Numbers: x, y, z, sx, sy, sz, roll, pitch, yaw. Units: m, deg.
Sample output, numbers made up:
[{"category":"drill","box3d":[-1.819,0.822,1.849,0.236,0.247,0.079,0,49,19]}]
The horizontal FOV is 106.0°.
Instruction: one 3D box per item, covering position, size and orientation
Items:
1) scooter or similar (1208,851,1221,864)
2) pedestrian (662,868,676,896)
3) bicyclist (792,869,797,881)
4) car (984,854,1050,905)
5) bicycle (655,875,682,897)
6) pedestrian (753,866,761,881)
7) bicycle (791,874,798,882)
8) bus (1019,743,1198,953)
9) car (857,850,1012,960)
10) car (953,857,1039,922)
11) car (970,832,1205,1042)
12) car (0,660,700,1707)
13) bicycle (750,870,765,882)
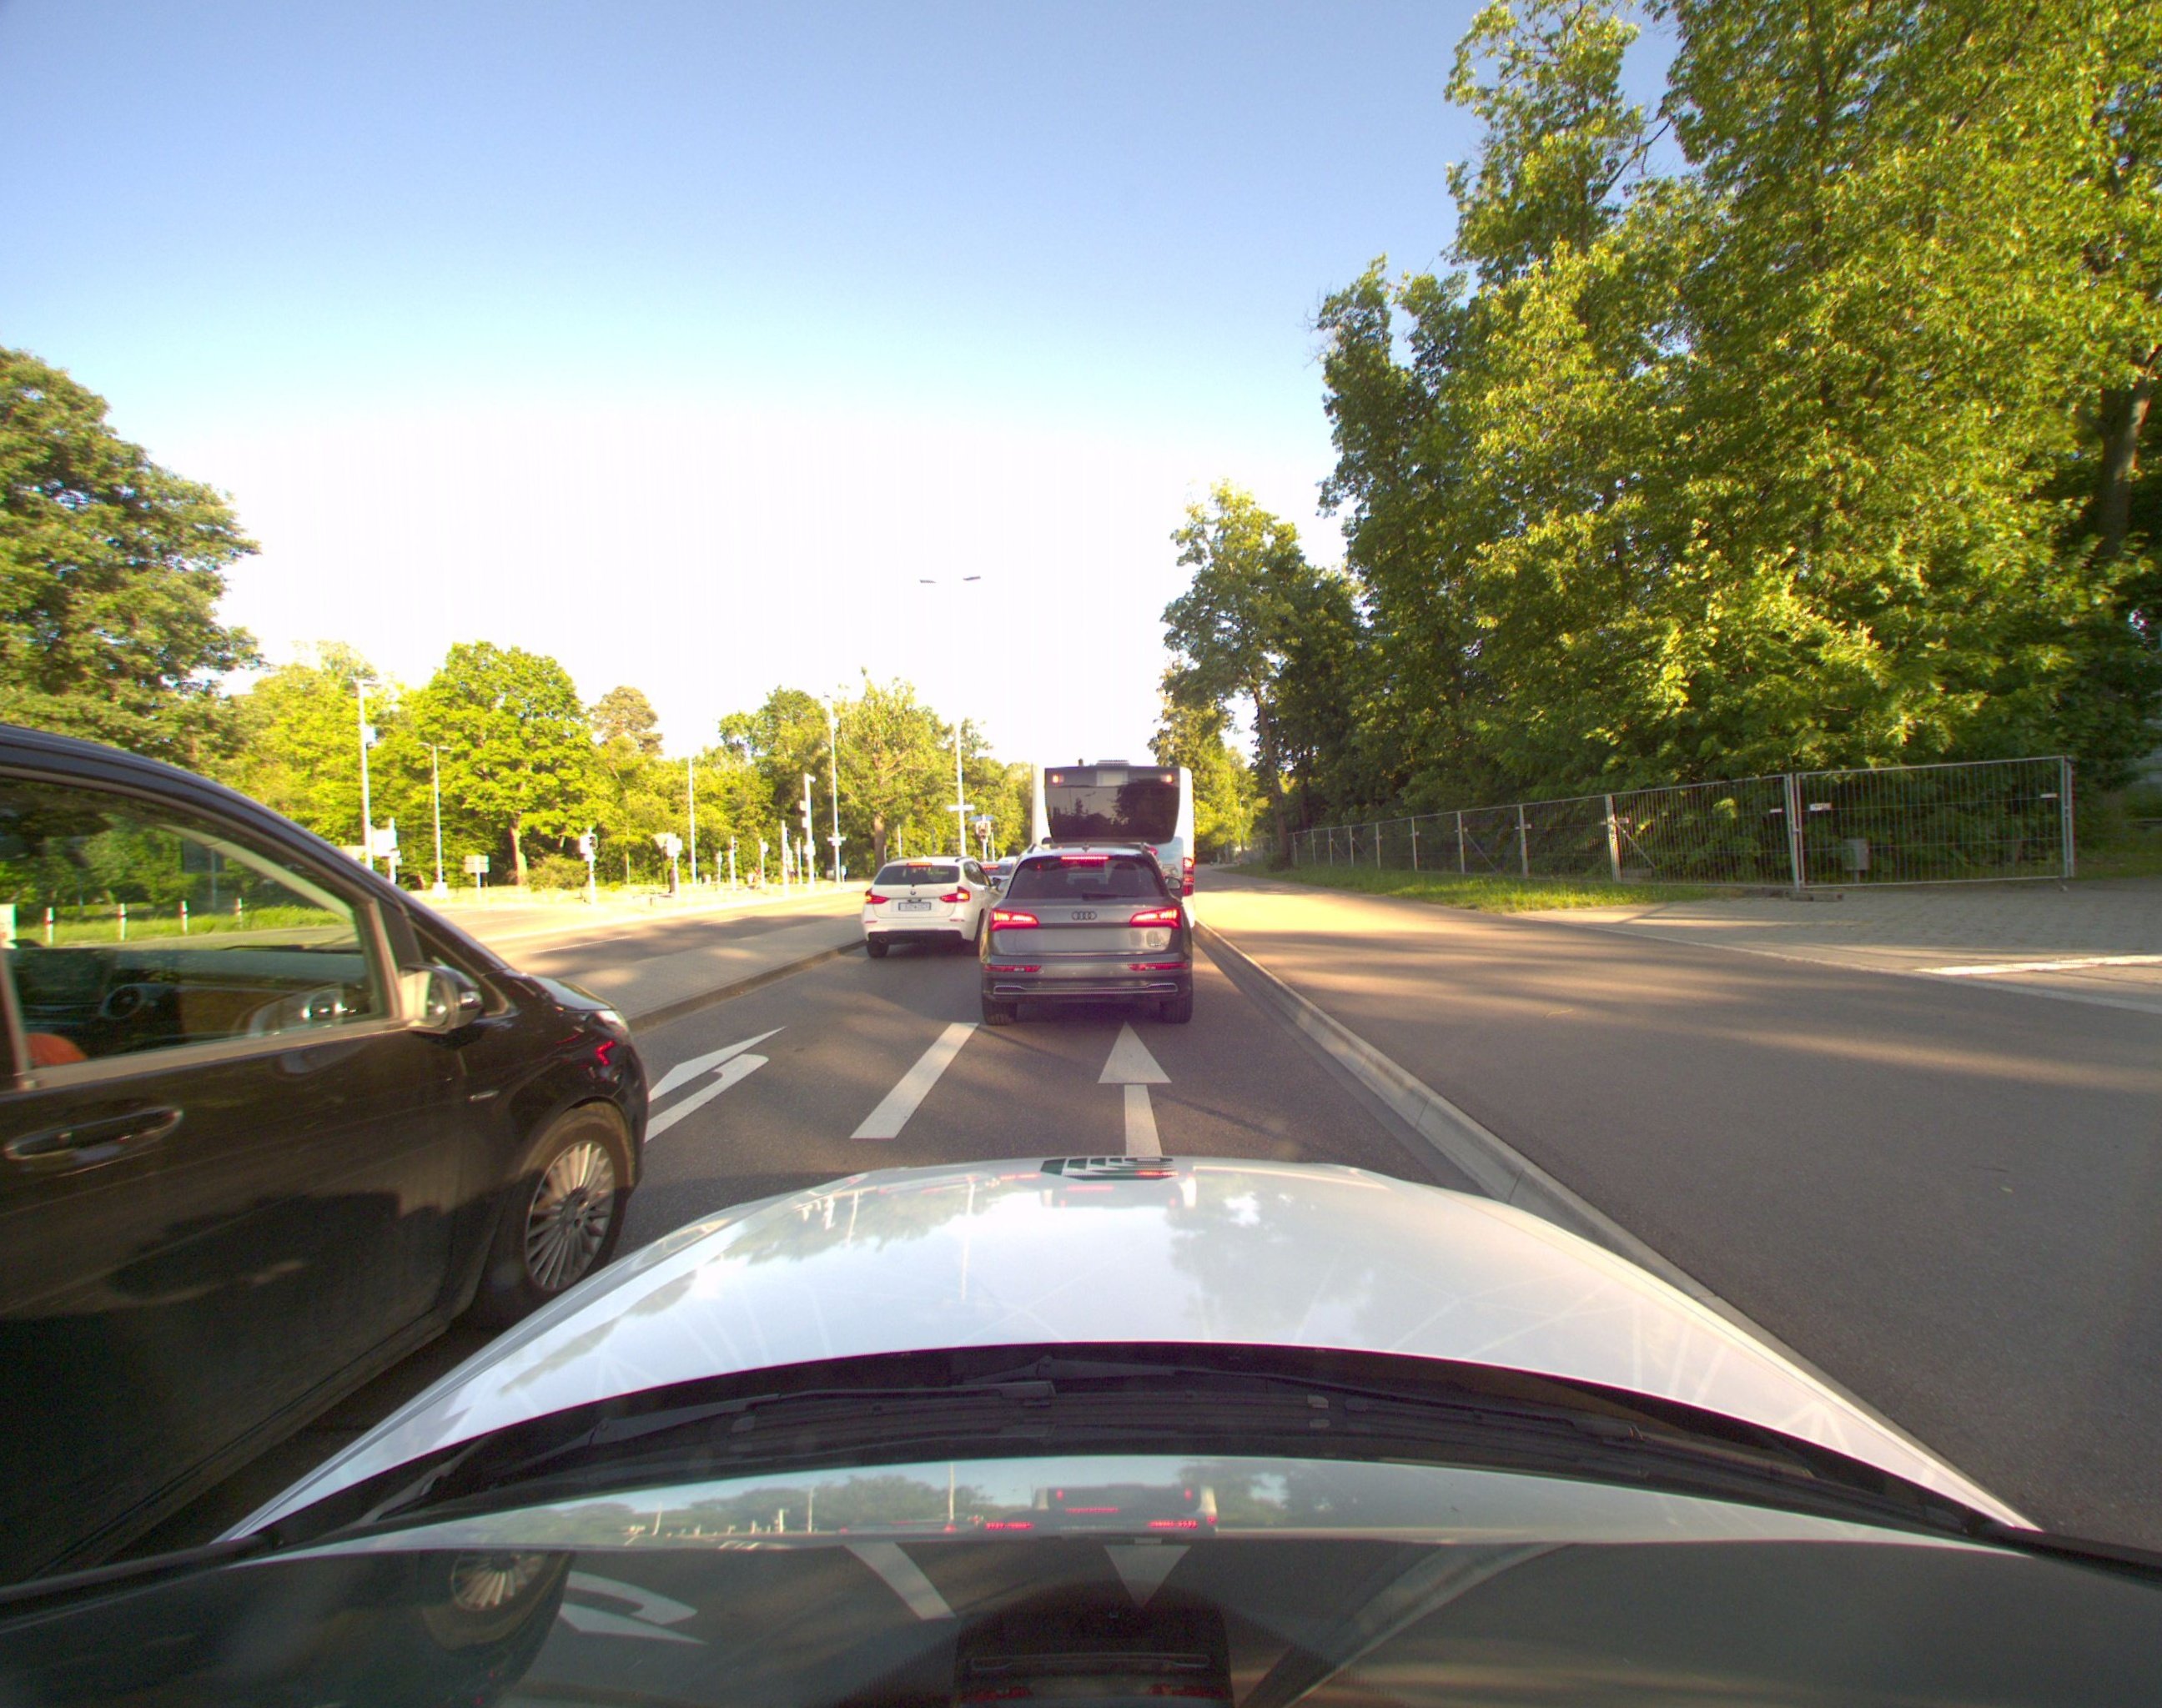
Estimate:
[{"category":"scooter or similar","box3d":[12.771,0.327,77.774,1.175,1.174,0.661,0,0,13]},{"category":"pedestrian","box3d":[-23.403,1.576,46.255,0.480,1.562,0.649,0,-1,2]},{"category":"bicyclist","box3d":[-22.124,1.629,62.895,0.273,0.963,0.240,0,-1,-5]},{"category":"car","box3d":[-2.121,0.799,27.855,1.801,1.572,4.002,0,1,2]},{"category":"bicycle","box3d":[-23.413,1.814,46.231,0.466,1.178,2.005,0,-1,2]},{"category":"pedestrian","box3d":[-23.006,1.378,57.895,0.444,1.108,0.378,0,-1,-5]},{"category":"bicycle","box3d":[-22.125,1.883,62.919,0.266,0.581,0.838,0,-1,-4]},{"category":"bus","box3d":[0.571,-0.113,15.228,2.667,3.142,5.887,0,0,3]},{"category":"car","box3d":[-2.302,0.750,13.947,1.712,1.581,4.435,0,0,2]},{"category":"car","box3d":[-2.076,0.826,21.015,1.779,1.444,4.277,0,1,0]},{"category":"car","box3d":[0.115,0.642,8.478,1.861,1.663,4.002,0,0,2]},{"category":"car","box3d":[-2.660,0.634,1.099,1.901,1.855,4.874,0,2,1]},{"category":"bicycle","box3d":[-23.015,1.547,57.907,0.576,0.800,1.276,0,-1,-3]}]
